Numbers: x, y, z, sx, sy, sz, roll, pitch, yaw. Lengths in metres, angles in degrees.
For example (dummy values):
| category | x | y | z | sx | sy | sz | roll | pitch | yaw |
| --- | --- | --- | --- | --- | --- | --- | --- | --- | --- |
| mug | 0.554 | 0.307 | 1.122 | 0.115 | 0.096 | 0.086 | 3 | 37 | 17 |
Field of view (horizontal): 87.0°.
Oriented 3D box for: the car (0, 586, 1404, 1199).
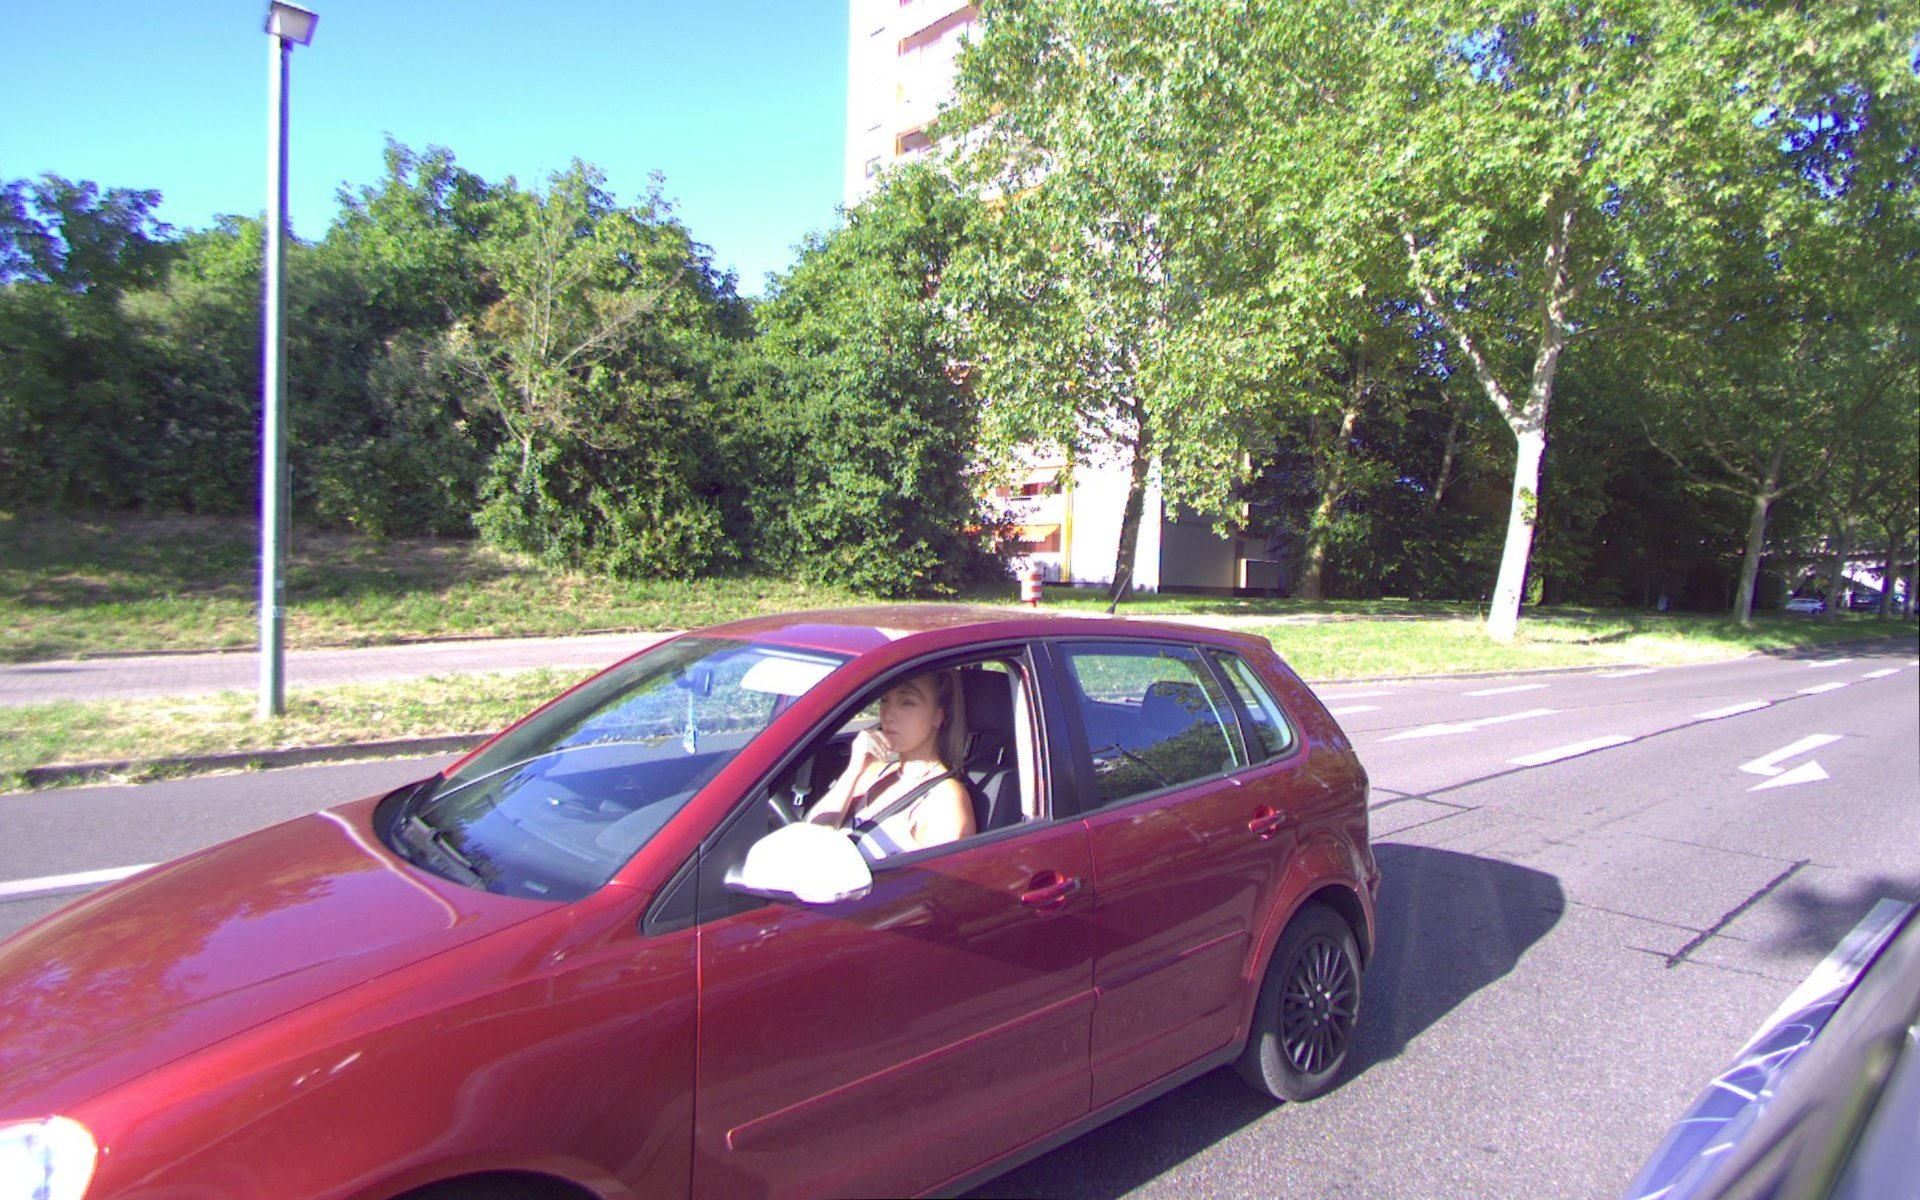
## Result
| category | x | y | z | sx | sy | sz | roll | pitch | yaw |
| --- | --- | --- | --- | --- | --- | --- | --- | --- | --- |
| car | -0.445 | 0.710 | 2.726 | 3.624 | 1.479 | 1.579 | -1 | 0 | -40 |

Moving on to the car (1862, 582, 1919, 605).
| category | x | y | z | sx | sy | sz | roll | pitch | yaw |
| --- | --- | --- | --- | --- | --- | --- | --- | --- | --- |
| car | 81.132 | -0.587 | 87.334 | 4.695 | 1.959 | 1.882 | 1 | 1 | 38 |
